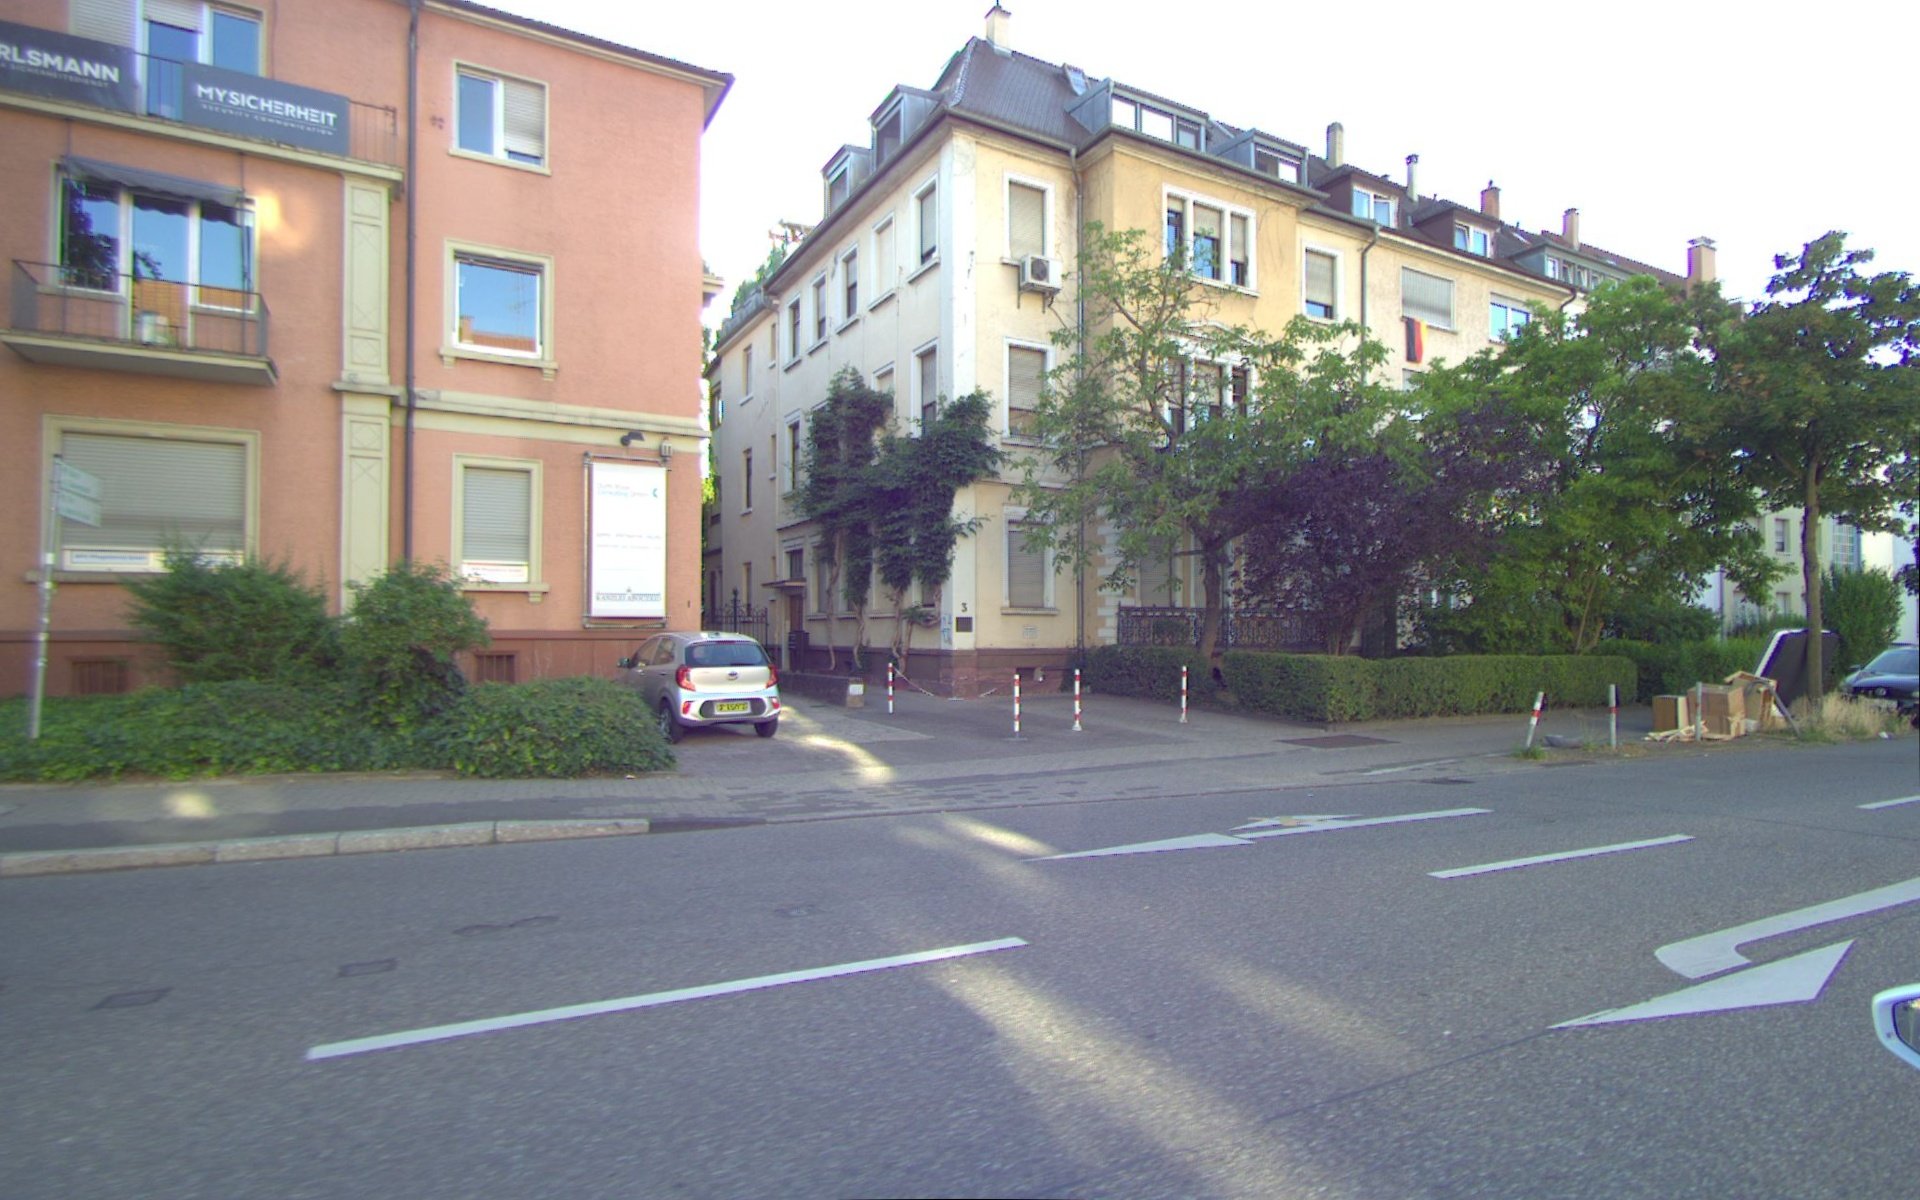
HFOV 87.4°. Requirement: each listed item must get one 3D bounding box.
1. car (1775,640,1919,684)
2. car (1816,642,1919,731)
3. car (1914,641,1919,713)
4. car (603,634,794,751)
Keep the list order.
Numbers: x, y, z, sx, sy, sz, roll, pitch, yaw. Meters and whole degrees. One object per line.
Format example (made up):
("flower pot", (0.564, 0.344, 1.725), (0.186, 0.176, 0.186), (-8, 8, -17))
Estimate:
("car", (30.376, 2.037, 33.538), (1.985, 1.380, 4.669), (1, -2, -42))
("car", (18.333, 1.583, 19.163), (4.146, 1.522, 1.742), (1, -2, -30))
("car", (22.524, 1.648, 21.679), (3.931, 1.522, 1.742), (1, -2, -30))
("car", (-4.016, 1.269, 15.083), (1.796, 1.505, 3.478), (1, -2, -33))
